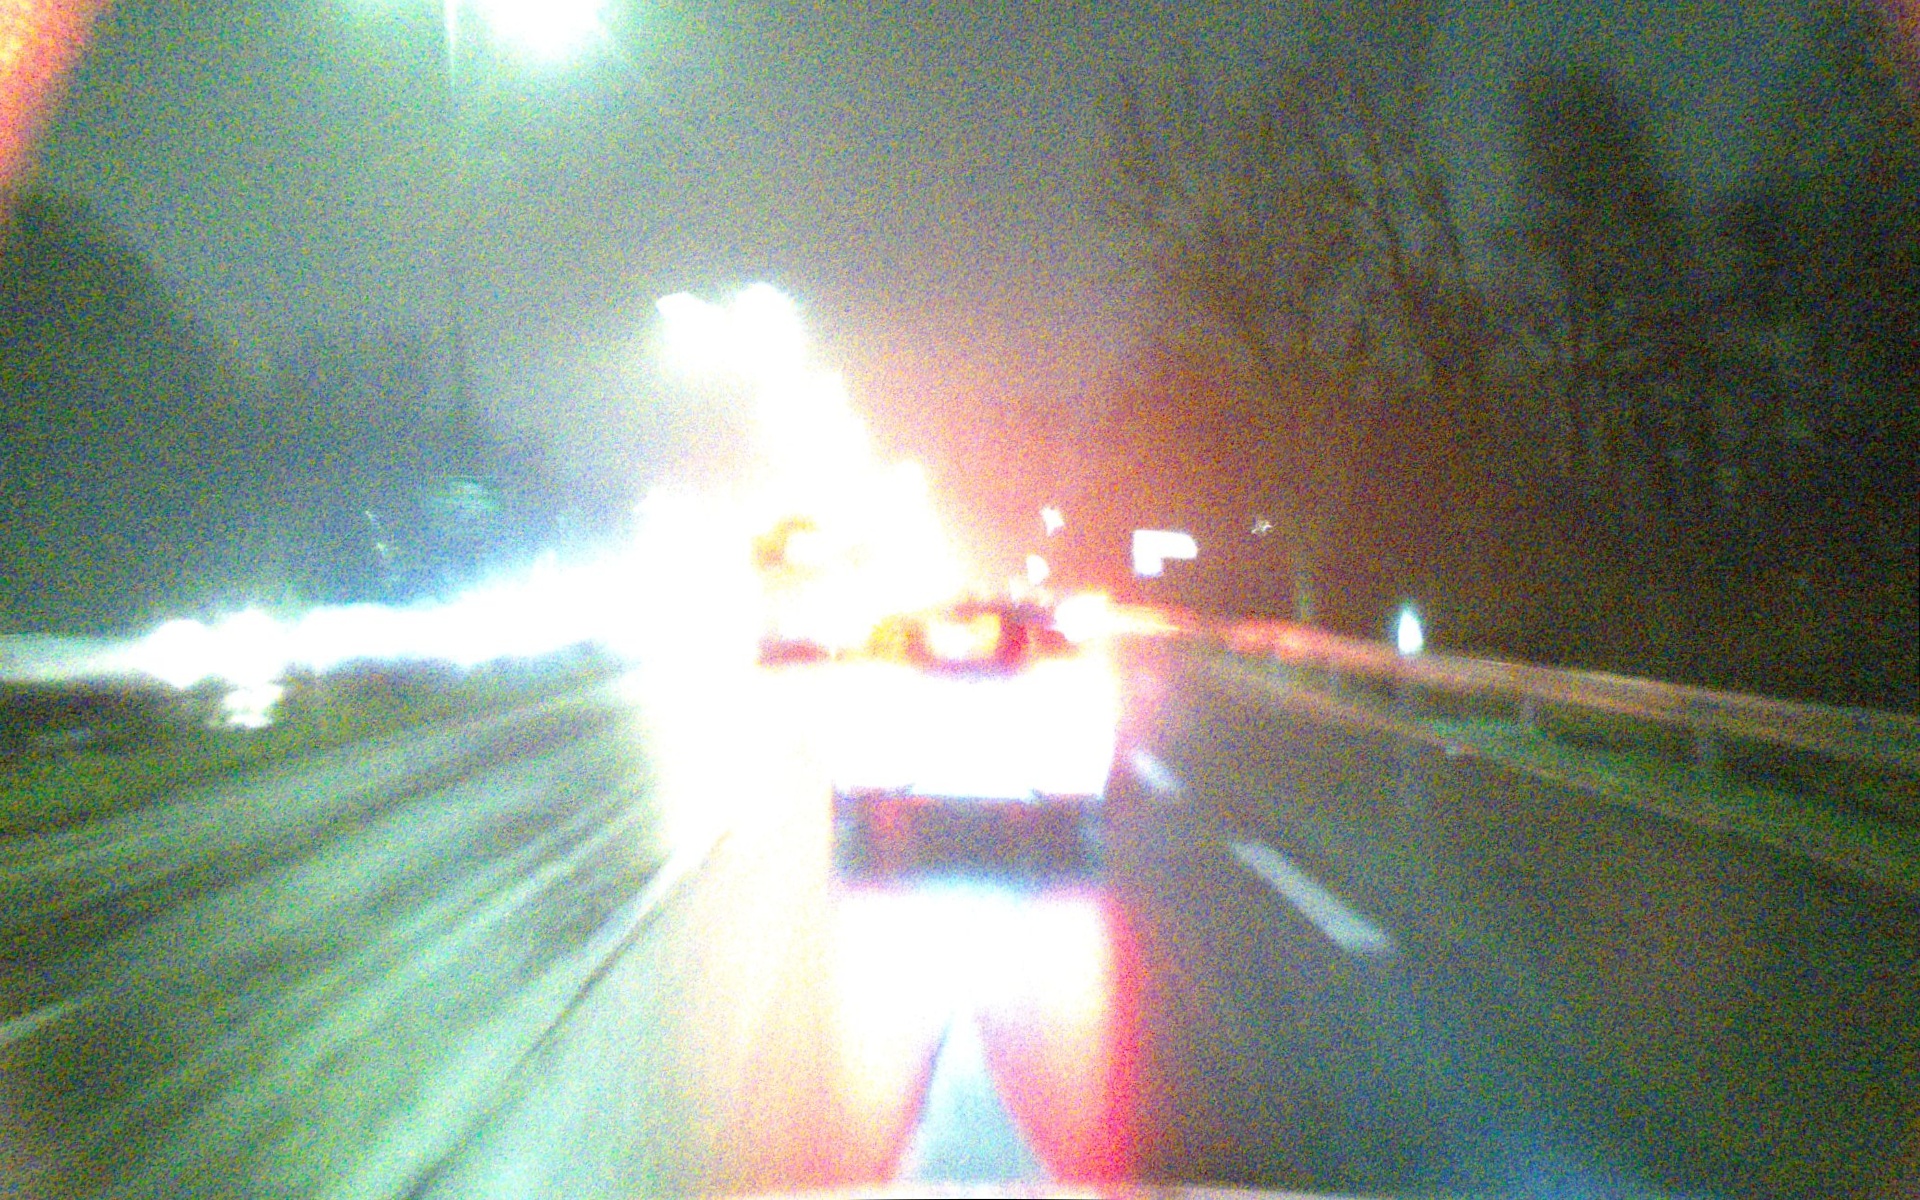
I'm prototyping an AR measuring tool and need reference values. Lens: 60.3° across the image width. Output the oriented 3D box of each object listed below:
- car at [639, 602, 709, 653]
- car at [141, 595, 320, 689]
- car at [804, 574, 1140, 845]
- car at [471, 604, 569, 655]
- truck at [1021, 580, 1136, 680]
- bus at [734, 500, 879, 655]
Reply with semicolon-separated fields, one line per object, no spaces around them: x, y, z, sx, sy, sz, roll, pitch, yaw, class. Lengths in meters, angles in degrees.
-10.822;1.034;62.822;1.953;1.805;4.703;2;-1;-2;car
-13.387;0.753;30.578;1.567;1.579;3.833;2;-1;0;car
0.125;0.623;11.283;1.904;1.517;3.717;1;0;2;car
-14.477;0.966;54.725;1.982;1.528;4.895;2;-1;-1;car
3.334;0.870;47.811;3.006;2.573;7.168;2;-1;3;truck
-3.461;-0.516;39.476;2.688;3.178;9.199;2;1;-1;bus
